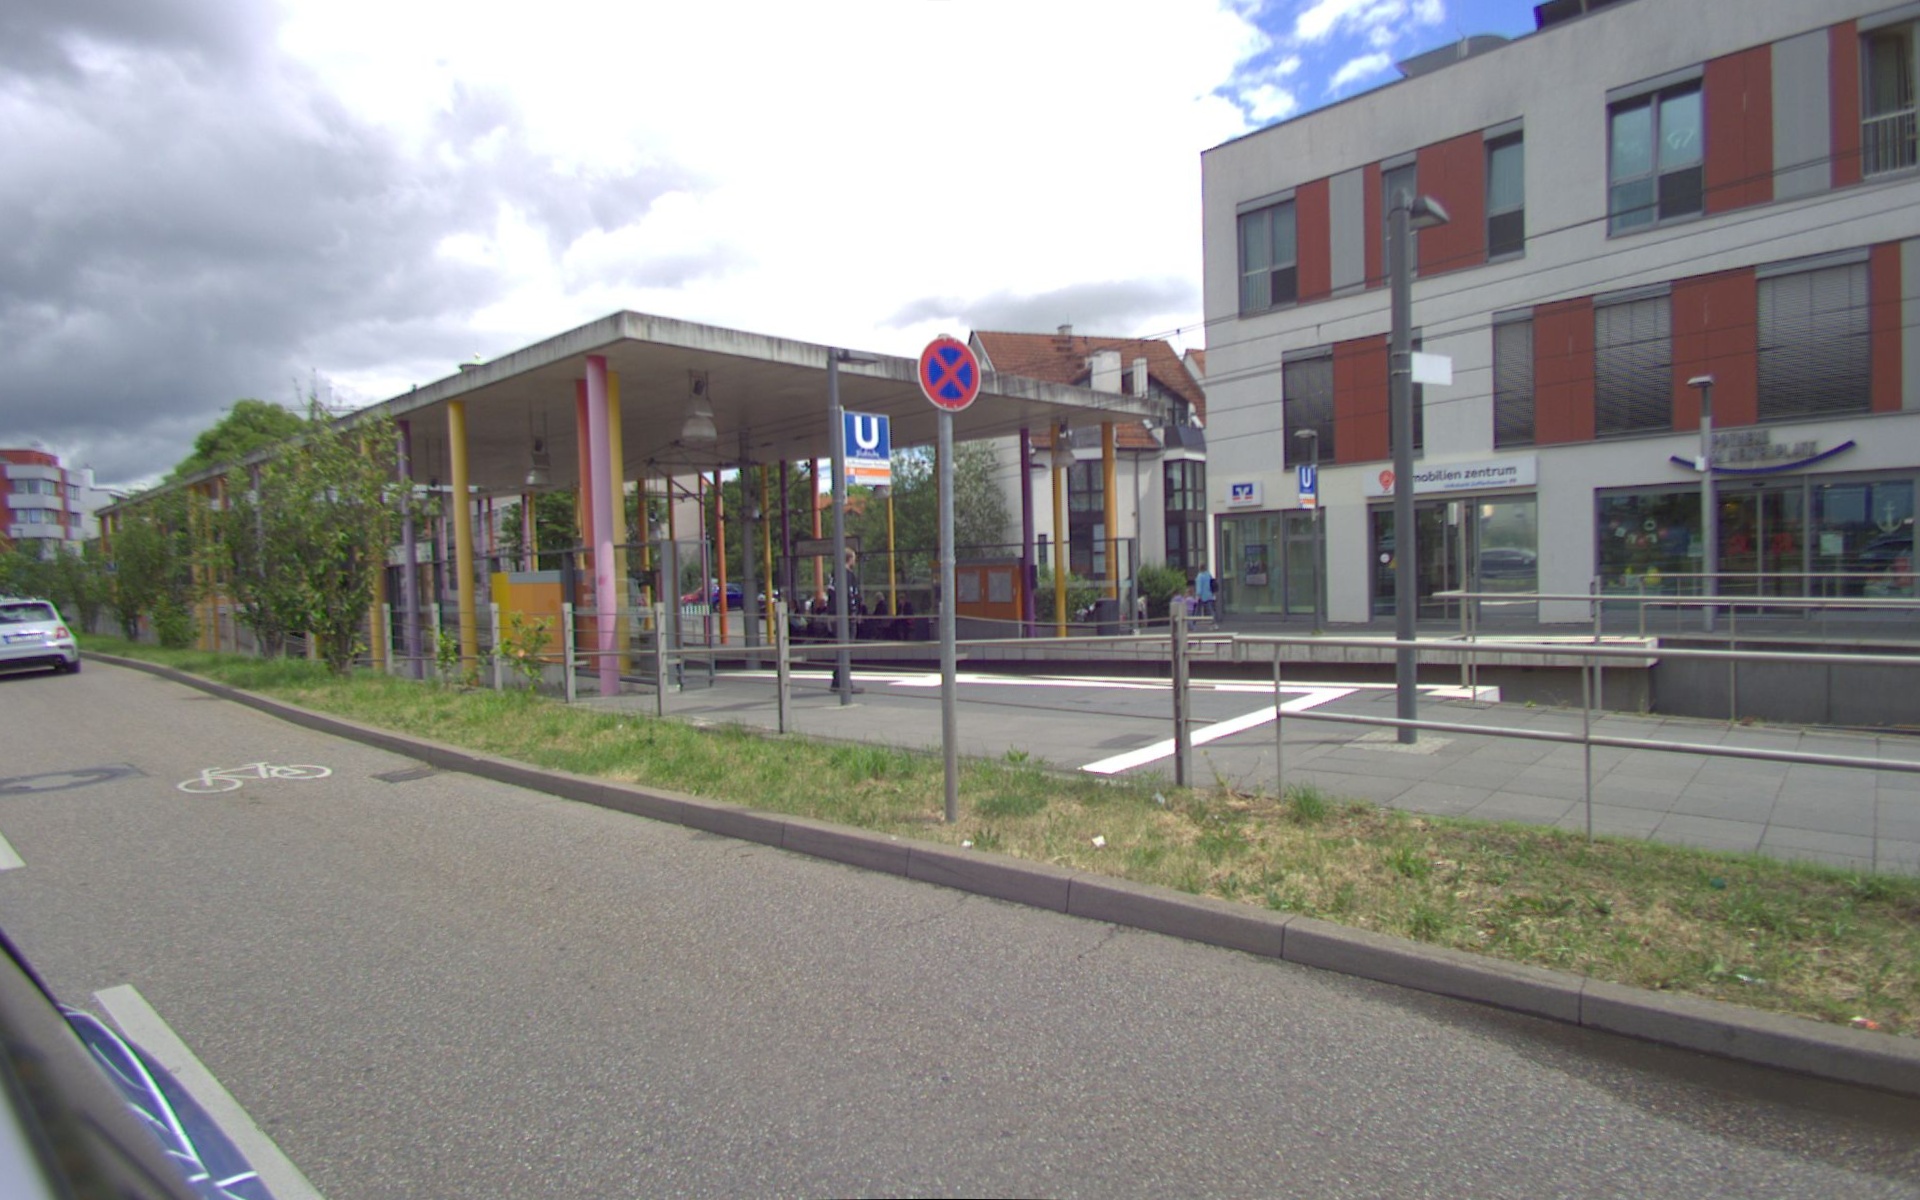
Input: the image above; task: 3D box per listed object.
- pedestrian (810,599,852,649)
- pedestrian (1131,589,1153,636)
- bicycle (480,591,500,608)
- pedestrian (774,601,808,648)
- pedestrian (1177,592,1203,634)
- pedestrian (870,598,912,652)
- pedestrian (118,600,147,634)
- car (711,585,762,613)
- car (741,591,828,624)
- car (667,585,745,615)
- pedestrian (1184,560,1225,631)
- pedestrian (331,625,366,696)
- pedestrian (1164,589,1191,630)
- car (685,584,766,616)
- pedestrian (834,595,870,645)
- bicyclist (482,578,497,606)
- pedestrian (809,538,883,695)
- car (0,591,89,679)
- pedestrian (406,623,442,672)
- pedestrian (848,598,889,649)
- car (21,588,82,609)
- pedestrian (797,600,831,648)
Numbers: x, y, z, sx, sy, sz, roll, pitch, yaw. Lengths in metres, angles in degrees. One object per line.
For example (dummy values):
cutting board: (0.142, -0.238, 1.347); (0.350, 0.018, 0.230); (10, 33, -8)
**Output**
pedestrian: (-3.803, 0.695, 29.781); (0.702, 1.389, 0.916); (-2, 2, 44)
pedestrian: (5.256, 0.351, 29.185); (0.521, 1.314, 0.510); (-1, 4, 20)
bicycle: (-27.327, -0.036, 58.829); (0.478, 0.970, 1.614); (-5, 5, -44)
pedestrian: (-5.261, 0.767, 31.487); (0.705, 1.389, 0.678); (-2, 2, 44)
pedestrian: (5.566, 0.310, 24.502); (0.359, 0.997, 0.492); (-5, 5, -44)
pedestrian: (-1.911, 0.681, 27.867); (0.702, 1.389, 0.813); (-2, 2, 44)
pedestrian: (-40.509, 0.838, 49.546); (0.815, 1.576, 0.917); (1, 5, 42)
car: (-14.733, -0.115, 66.687); (1.883, 1.586, 4.011); (-4, 4, -34)
car: (-8.755, 0.348, 50.479); (3.933, 1.347, 1.575); (-4, 4, -32)
car: (-14.463, -0.024, 57.618); (3.933, 1.347, 1.731); (-4, 4, -32)
pedestrian: (6.027, -0.117, 24.962); (0.676, 1.697, 0.724); (-5, 5, -44)
pedestrian: (-16.690, 1.638, 27.618); (0.710, 1.843, 0.580); (2, 5, 45)
pedestrian: (5.722, 0.236, 26.646); (0.359, 1.030, 0.562); (-5, 5, -44)
car: (-12.802, -0.016, 55.298); (3.933, 1.411, 1.575); (-4, 4, -32)
pedestrian: (-3.112, 0.578, 29.218); (0.702, 1.389, 0.644); (-2, 2, 44)
bicyclist: (-27.348, -0.475, 58.808); (0.478, 1.604, 0.682); (-5, 5, -44)
pedestrian: (-1.430, 0.195, 12.742); (0.772, 1.858, 0.737); (-4, 1, -5)
car: (-18.758, 0.696, 20.040); (4.000, 1.519, 1.752); (-2, 4, 43)
pedestrian: (-12.676, 1.123, 23.922); (0.484, 1.091, 0.559); (-3, 2, 42)
pedestrian: (-2.593, 0.663, 28.630); (0.702, 1.389, 0.813); (-2, 2, 44)
car: (-84.368, -0.162, 94.009); (1.821, 1.674, 3.995); (-2, 4, 5)
pedestrian: (-4.436, 0.722, 30.787); (0.702, 1.389, 0.644); (-2, 2, 44)
